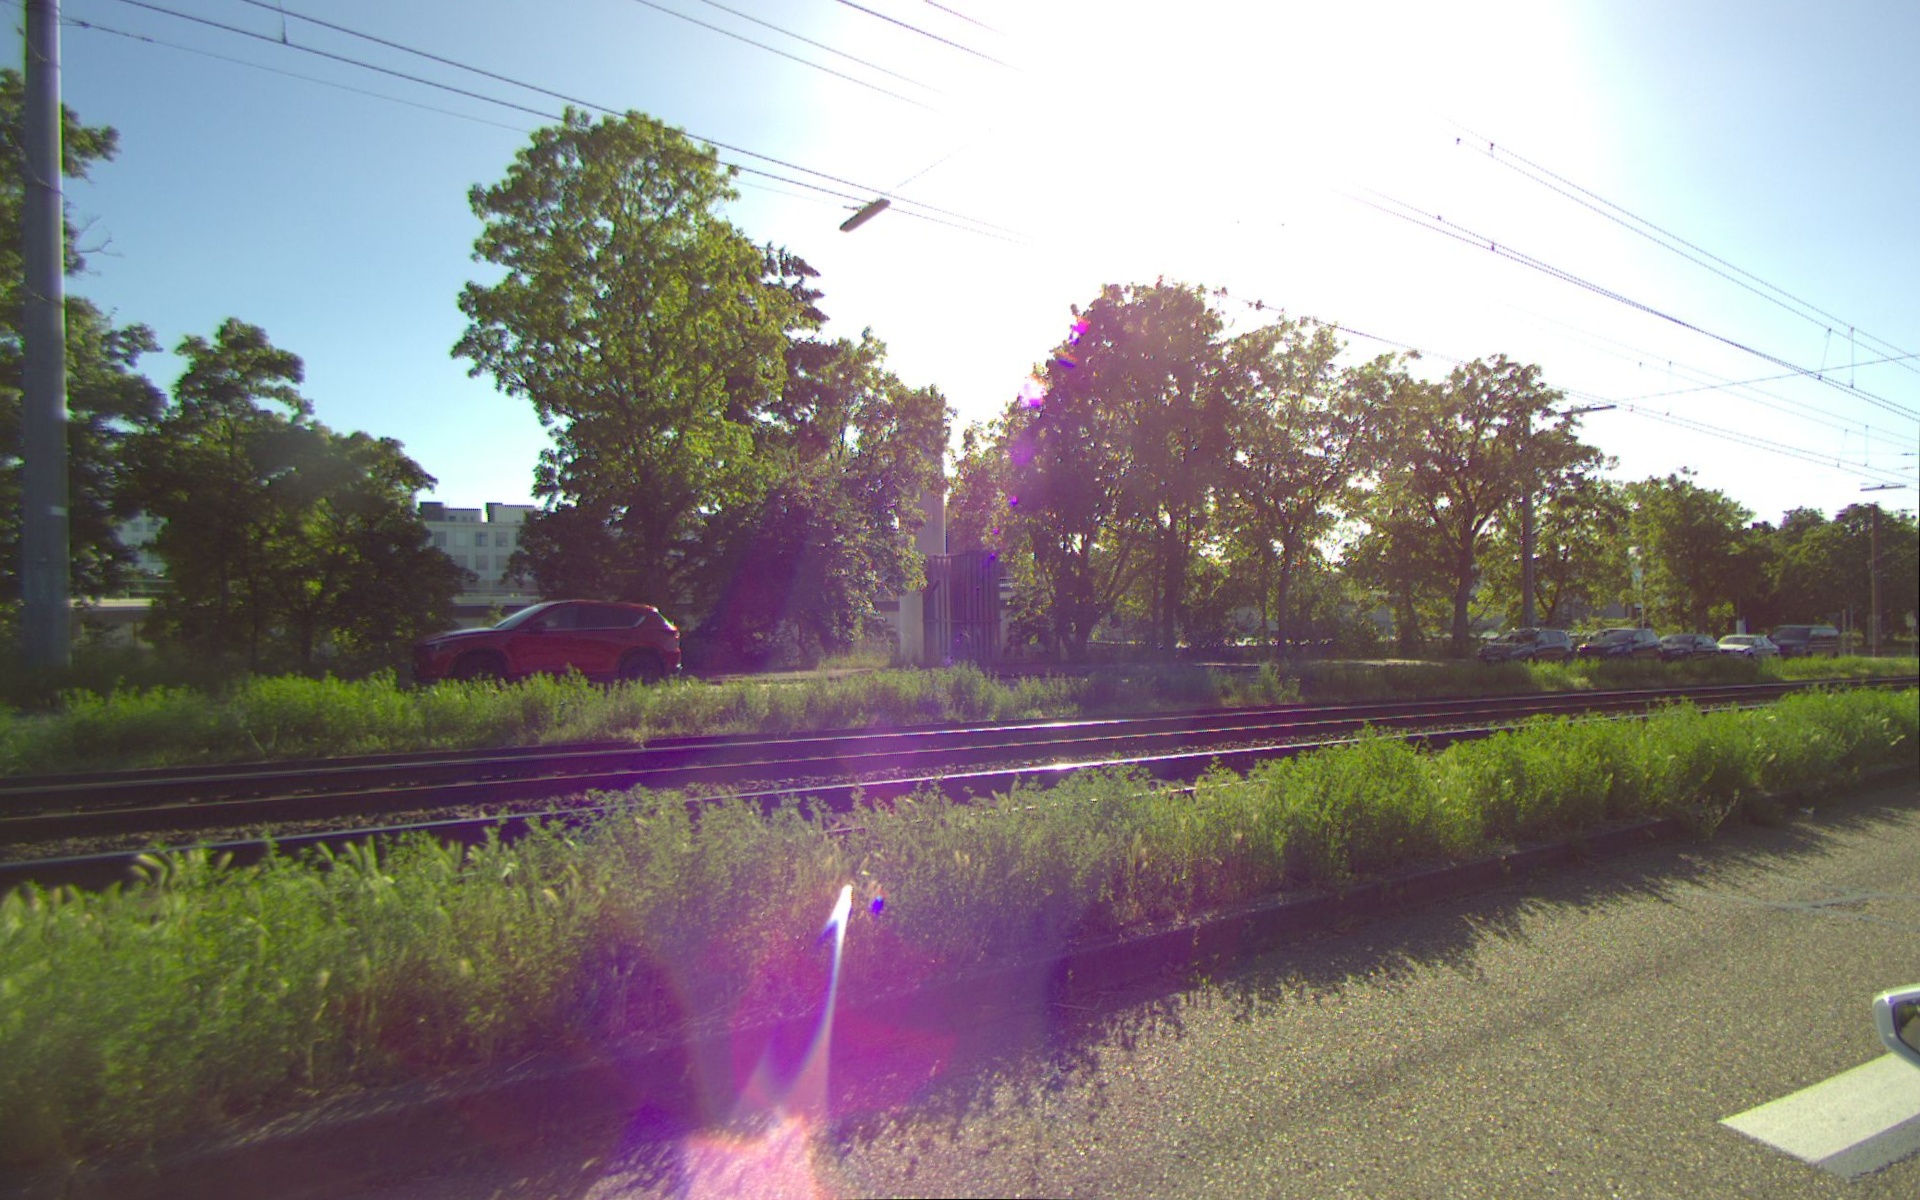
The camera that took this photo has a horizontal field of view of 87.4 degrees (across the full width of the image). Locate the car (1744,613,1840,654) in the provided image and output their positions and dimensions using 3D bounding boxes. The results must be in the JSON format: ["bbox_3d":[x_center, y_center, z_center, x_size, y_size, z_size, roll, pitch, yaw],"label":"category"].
[{"bbox_3d":[41.313,1.616,49.864,4.734,1.916,2.187,1,-1,-30],"label":"car"}]

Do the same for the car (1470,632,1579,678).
[{"bbox_3d":[20.528,1.962,36.495,4.283,1.514,1.724,1,0,-34],"label":"car"}]

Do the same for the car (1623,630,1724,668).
[{"bbox_3d":[30.356,2.055,42.696,4.365,1.457,1.983,0,-1,-32],"label":"car"}]

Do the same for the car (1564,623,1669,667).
[{"bbox_3d":[26.276,1.758,40.179,4.388,1.595,1.982,0,-1,-34],"label":"car"}]

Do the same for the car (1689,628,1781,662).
[{"bbox_3d":[35.949,2.033,46.558,4.642,1.457,1.918,0,-1,-32],"label":"car"}]

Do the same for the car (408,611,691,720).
[{"bbox_3d":[-7.307,1.078,18.007,4.419,1.725,1.992,1,-1,-33],"label":"car"}]
